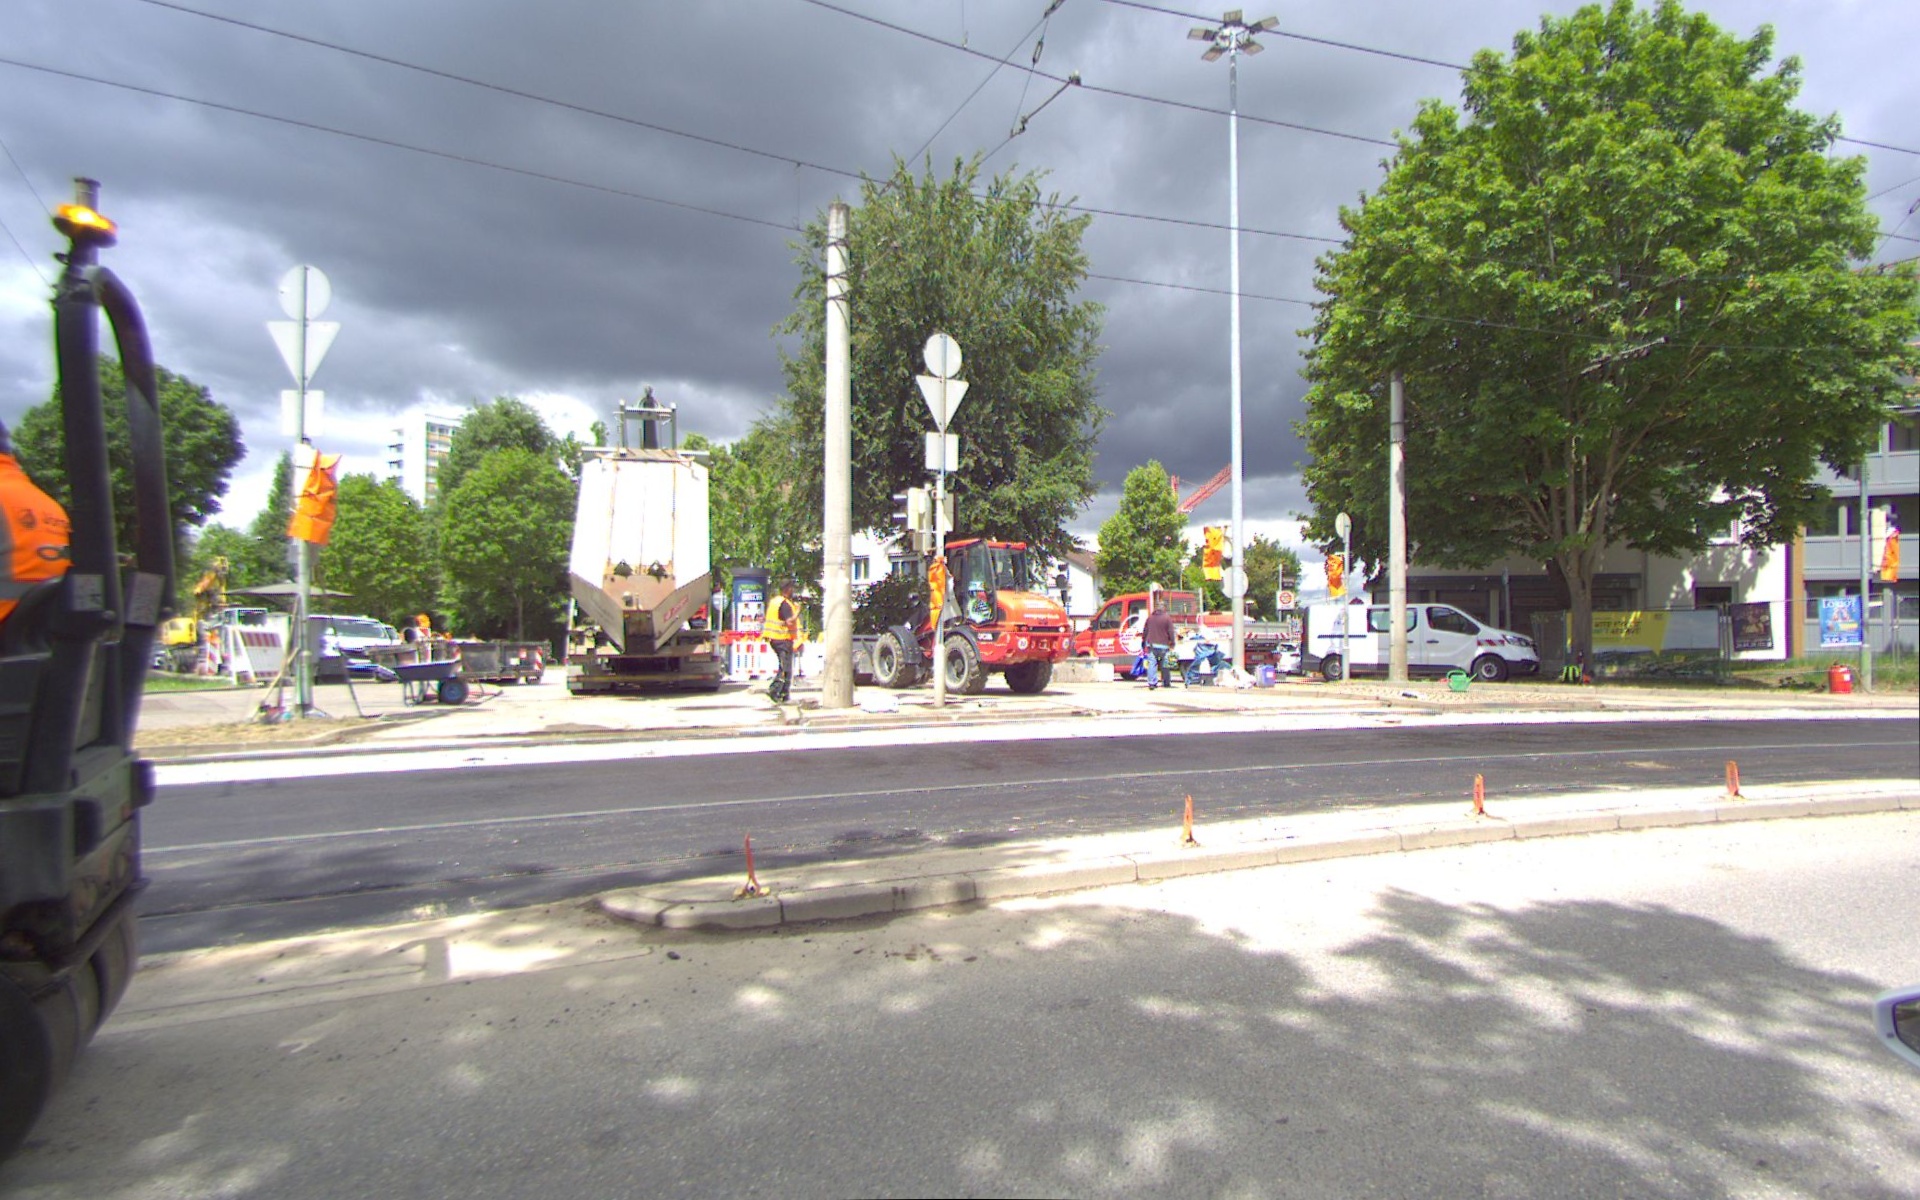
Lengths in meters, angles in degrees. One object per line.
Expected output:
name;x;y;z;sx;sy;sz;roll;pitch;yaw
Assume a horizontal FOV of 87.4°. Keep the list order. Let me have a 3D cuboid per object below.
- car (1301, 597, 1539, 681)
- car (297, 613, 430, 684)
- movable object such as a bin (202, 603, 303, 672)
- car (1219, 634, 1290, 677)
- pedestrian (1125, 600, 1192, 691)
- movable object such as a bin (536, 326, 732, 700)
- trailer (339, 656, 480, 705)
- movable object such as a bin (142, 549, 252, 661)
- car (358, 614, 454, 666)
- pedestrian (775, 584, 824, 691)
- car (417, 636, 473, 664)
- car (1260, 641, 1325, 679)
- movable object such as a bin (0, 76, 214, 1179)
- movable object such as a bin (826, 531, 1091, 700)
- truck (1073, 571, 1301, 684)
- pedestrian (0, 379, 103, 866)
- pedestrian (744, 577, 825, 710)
car;11.336;0.983;24.927;5.161;1.911;1.995;-1;-4;33
car;-17.401;1.402;29.242;4.277;1.906;1.991;-2;-3;39
movable object such as a bin;-26.681;1.424;37.844;3.937;2.441;1.993;-2;-3;37
car;10.487;1.943;35.673;1.538;1.474;3.195;-2;-3;33
pedestrian;3.811;0.860;19.329;0.867;1.681;0.918;0;-1;-40
movable object such as a bin;-6.010;-1.124;19.611;2.773;5.557;9.012;0;-2;-14
trailer;-7.557;1.091;13.864;1.572;0.624;0.794;1;-3;-19
movable object such as a bin;-33.757;0.327;44.382;6.122;4.595;2.811;-2;-3;43
car;-23.553;1.691;42.578;5.830;2.040;1.988;-2;-3;45
pedestrian;-2.768;0.632;17.363;0.607;1.812;0.575;-1;0;-40
car;-29.018;2.775;56.542;1.667;1.524;3.947;2;-3;-45
car;13.502;2.386;40.649;1.746;1.478;3.869;-1;-2;30
movable object such as a bin;-3.385;0.057;2.475;2.336;2.628;1.309;1;-1;-32
movable object such as a bin;-0.229;0.297;18.931;2.096;2.704;5.529;2;-1;-37
truck;5.726;0.784;26.081;2.398;2.602;5.524;1;-3;-38
pedestrian;-2.739;0.059;2.665;0.611;1.232;0.546;1;-1;-32
pedestrian;-2.539;0.617;14.486;0.958;1.857;0.791;1;-1;-25
